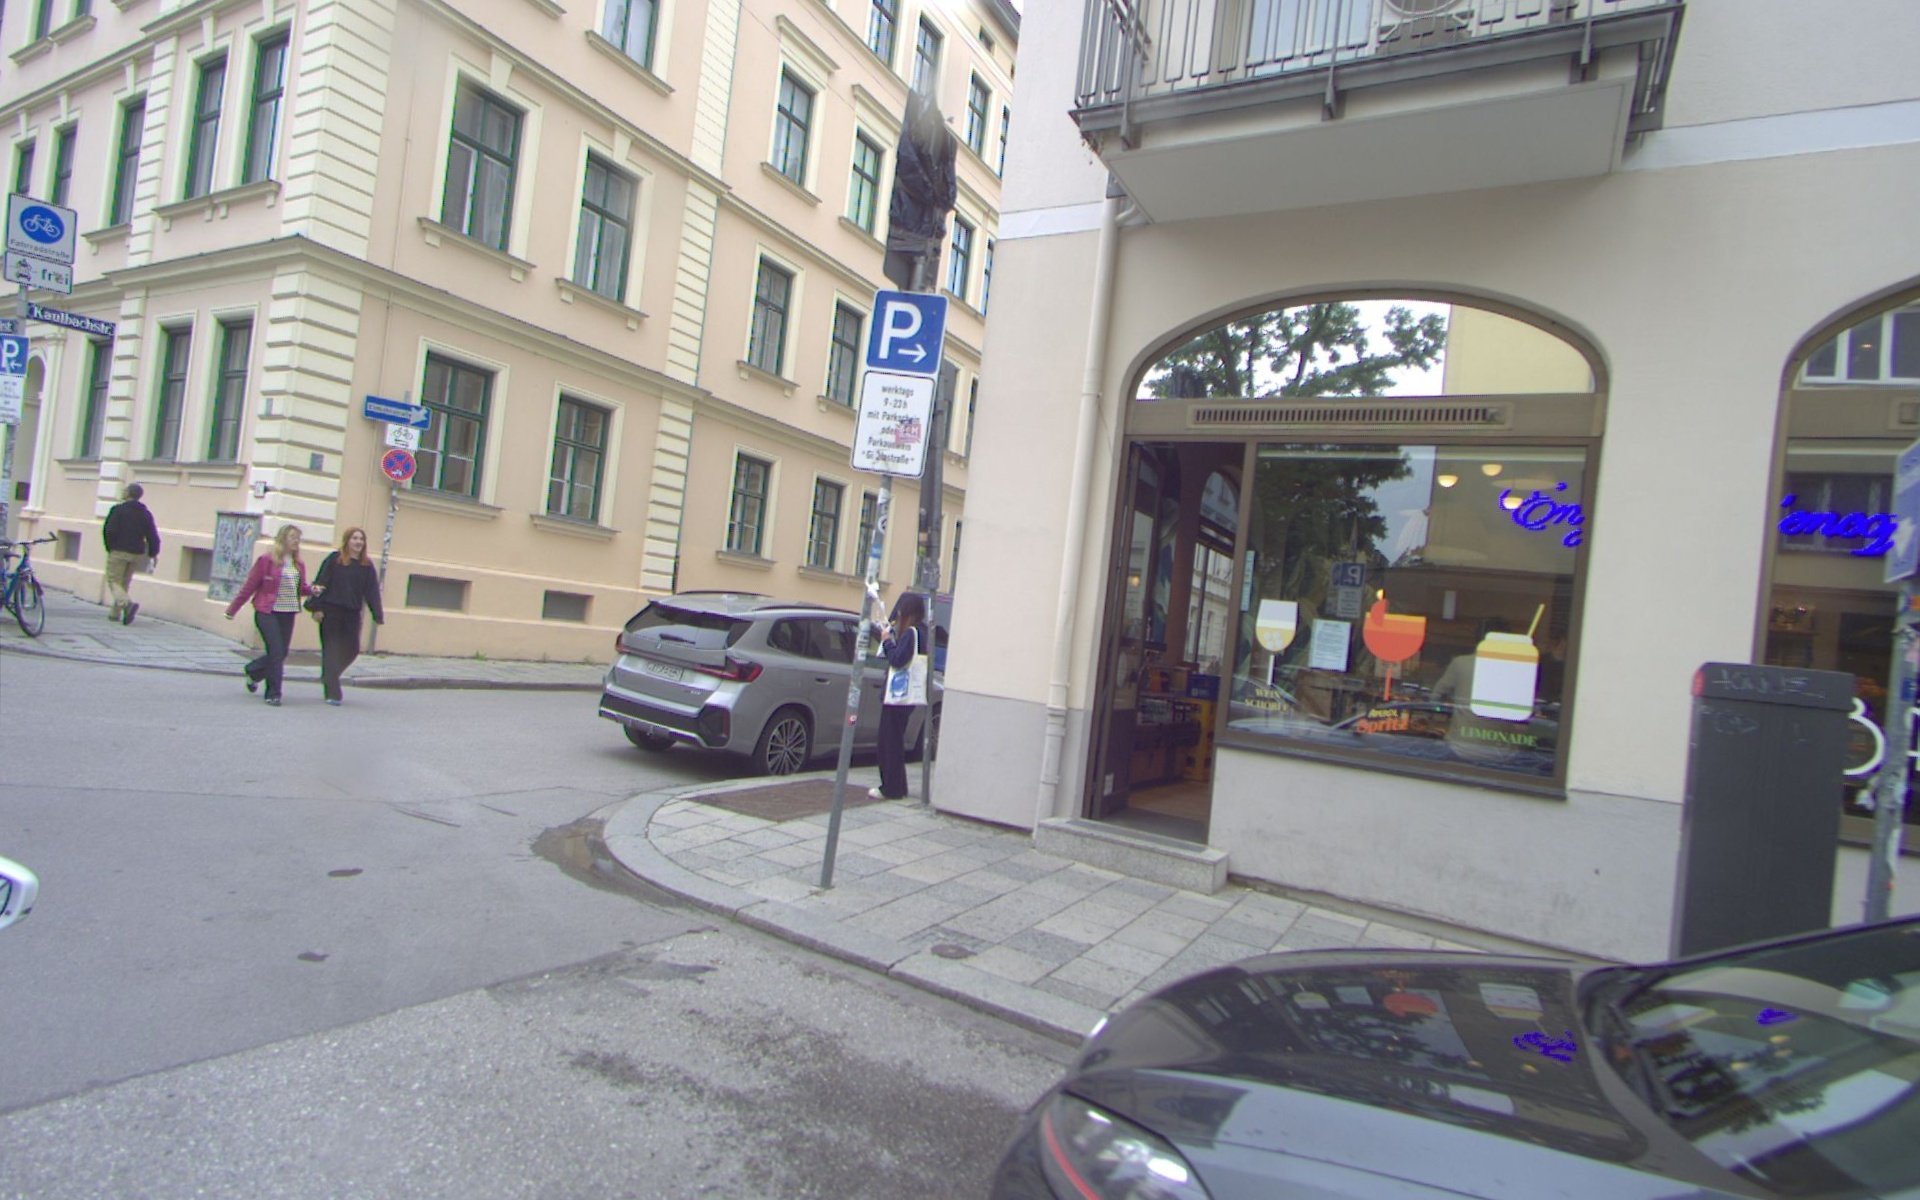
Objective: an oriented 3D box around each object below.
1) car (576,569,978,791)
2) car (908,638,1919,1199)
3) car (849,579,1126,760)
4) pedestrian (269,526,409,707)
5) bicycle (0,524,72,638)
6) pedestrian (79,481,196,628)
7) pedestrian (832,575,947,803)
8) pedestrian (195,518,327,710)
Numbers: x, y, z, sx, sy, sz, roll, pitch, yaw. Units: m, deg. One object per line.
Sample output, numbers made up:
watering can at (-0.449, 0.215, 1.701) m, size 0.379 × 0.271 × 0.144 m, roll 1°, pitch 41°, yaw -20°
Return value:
car at (-1.621, 0.793, 10.402) m, size 1.725 × 1.625 × 4.096 m, roll 9°, pitch 0°, yaw 29°
car at (2.125, 1.102, 1.329) m, size 4.131 × 1.440 × 1.681 m, roll 7°, pitch -3°, yaw 29°
car at (0.599, 1.002, 14.579) m, size 1.941 × 1.940 × 4.449 m, roll 10°, pitch 1°, yaw 29°
pedestrian at (-6.063, 0.157, 9.820) m, size 0.963 × 1.640 × 0.660 m, roll 5°, pitch -1°, yaw 30°
bicycle at (-10.549, -0.239, 11.203) m, size 1.700 × 1.066 × 0.465 m, roll 9°, pitch 3°, yaw 32°
pedestrian at (-10.434, -0.573, 12.766) m, size 0.987 × 1.738 × 0.720 m, roll 5°, pitch -1°, yaw 30°
pedestrian at (-0.542, 0.684, 7.892) m, size 0.517 × 1.667 × 0.636 m, roll 5°, pitch 0°, yaw 23°
pedestrian at (-6.438, 0.118, 9.261) m, size 1.051 × 1.644 × 0.472 m, roll 5°, pitch 0°, yaw 30°
